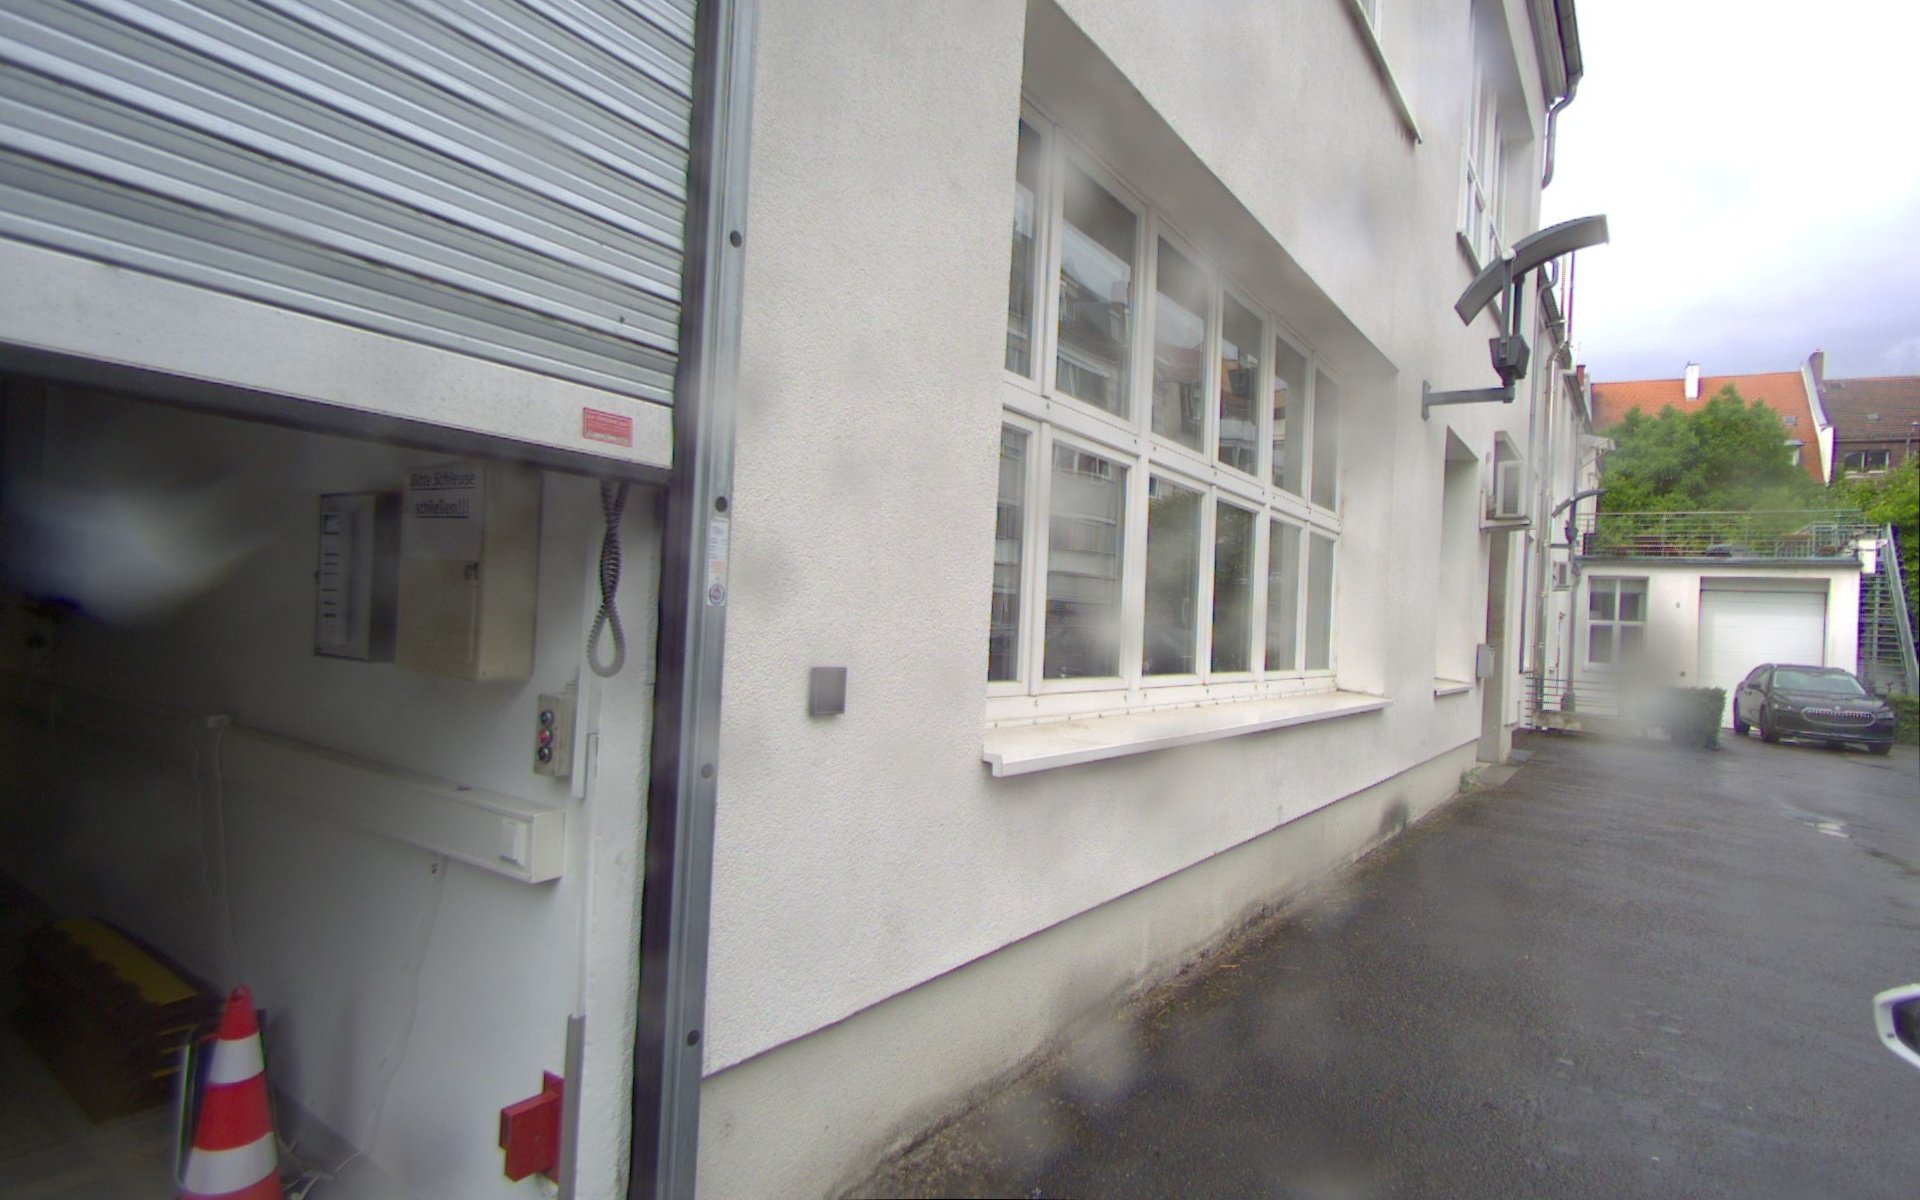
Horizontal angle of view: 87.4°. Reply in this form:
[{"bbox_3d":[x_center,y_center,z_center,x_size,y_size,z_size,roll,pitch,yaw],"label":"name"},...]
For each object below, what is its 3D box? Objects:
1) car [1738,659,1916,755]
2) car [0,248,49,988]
[{"bbox_3d":[16.351,1.932,19.172,1.951,1.463,3.990,3,-1,33],"label":"car"},{"bbox_3d":[-4.353,0.166,2.480,4.627,2.040,2.078,4,0,35],"label":"car"}]
